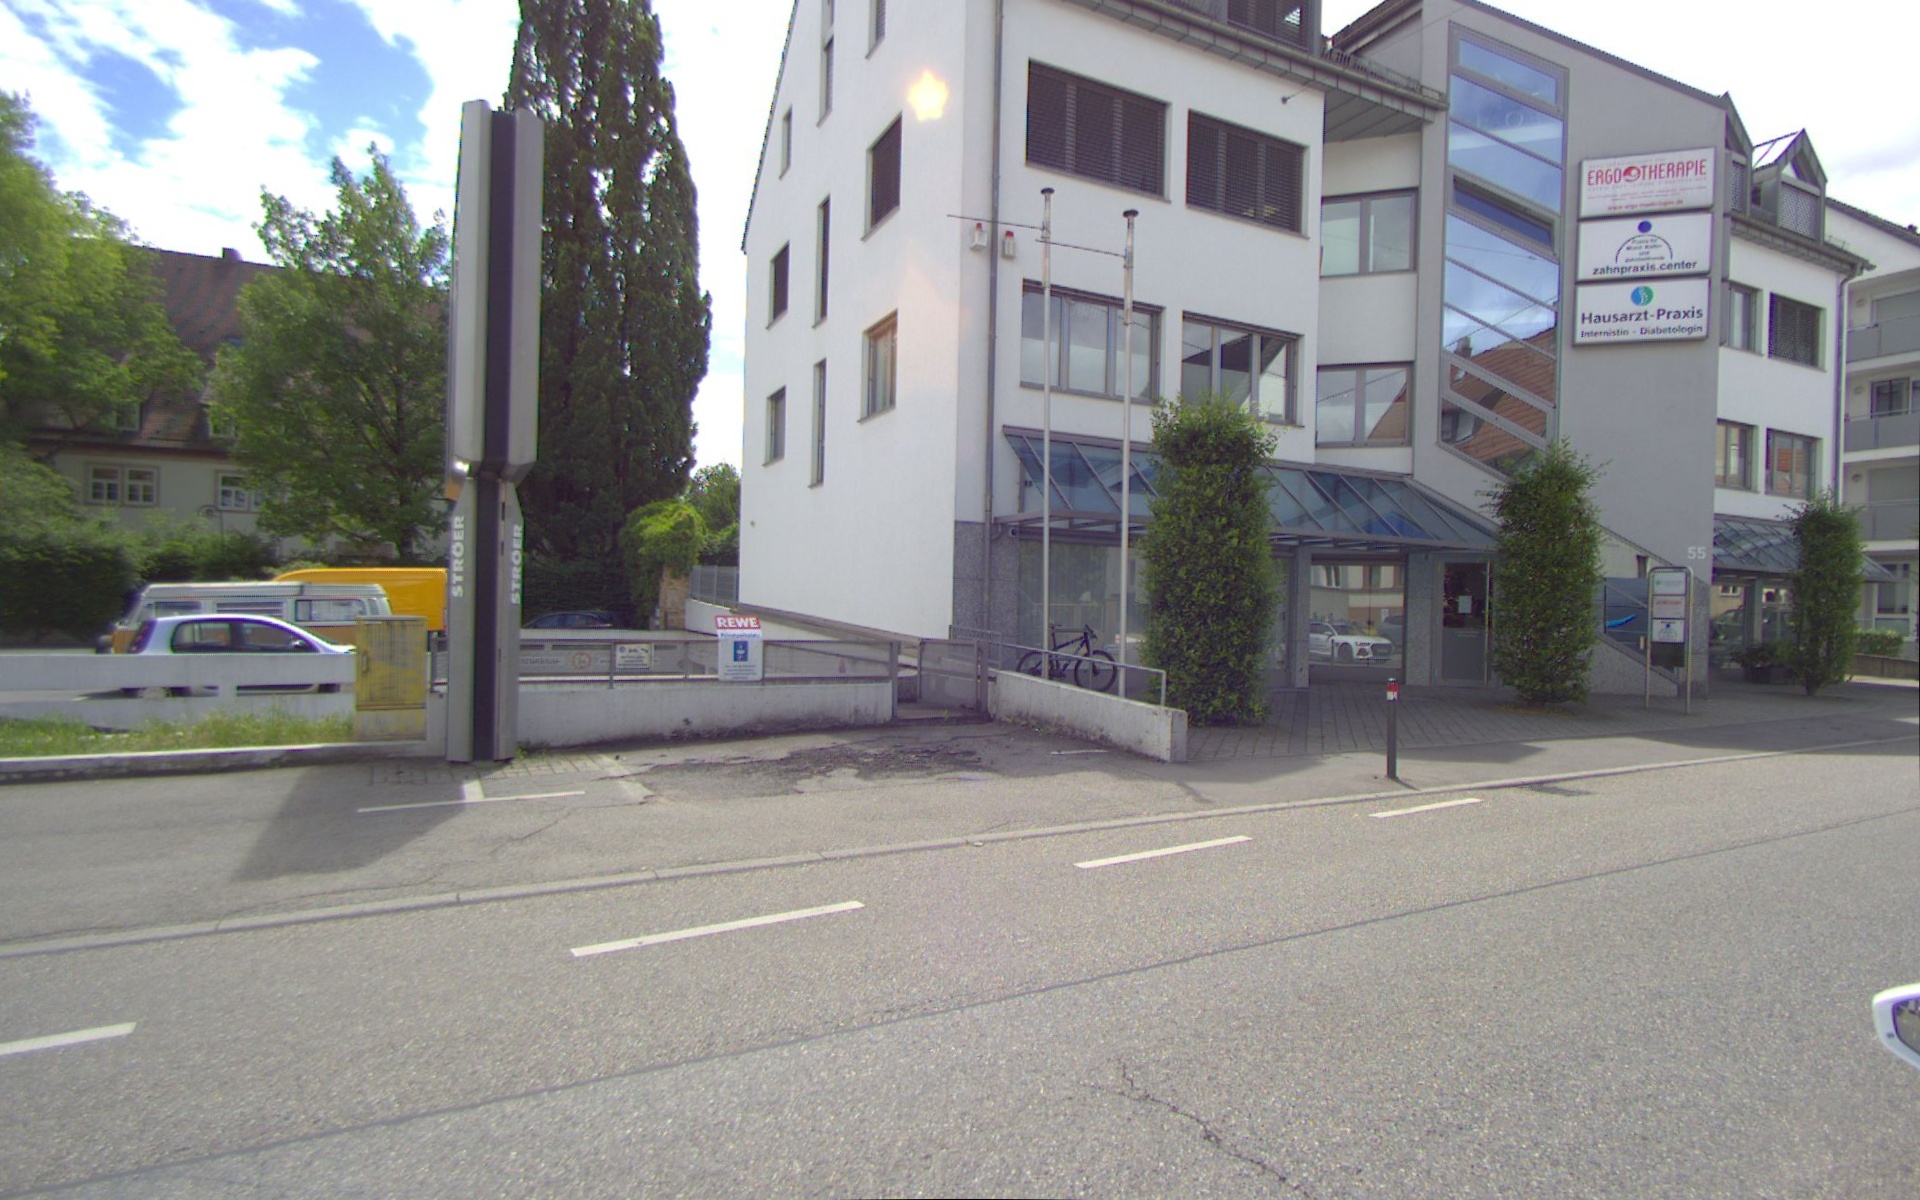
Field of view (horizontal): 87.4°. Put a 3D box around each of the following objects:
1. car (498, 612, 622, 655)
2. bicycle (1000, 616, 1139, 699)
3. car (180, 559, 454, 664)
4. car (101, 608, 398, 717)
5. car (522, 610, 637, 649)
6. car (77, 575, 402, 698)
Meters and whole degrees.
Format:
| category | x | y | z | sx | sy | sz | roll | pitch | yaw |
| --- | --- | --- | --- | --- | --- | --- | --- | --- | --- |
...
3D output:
| category | x | y | z | sx | sy | sz | roll | pitch | yaw |
| --- | --- | --- | --- | --- | --- | --- | --- | --- | --- |
| car | -12.946 | 1.068 | 32.507 | 3.614 | 1.302 | 1.706 | 1 | -1 | -26 |
| bicycle | 1.579 | 0.802 | 14.346 | 1.979 | 1.110 | 0.627 | 1 | 0 | -30 |
| car | -16.849 | 0.364 | 26.795 | 5.903 | 2.563 | 2.053 | 1 | -2 | -29 |
| car | -11.302 | 0.944 | 16.249 | 3.718 | 1.549 | 1.801 | 1 | -1 | -34 |
| car | -13.346 | 1.042 | 35.255 | 3.614 | 1.302 | 1.706 | 1 | -1 | -26 |
| car | -12.901 | 0.646 | 18.416 | 4.590 | 2.016 | 1.831 | 1 | 0 | -28 |
